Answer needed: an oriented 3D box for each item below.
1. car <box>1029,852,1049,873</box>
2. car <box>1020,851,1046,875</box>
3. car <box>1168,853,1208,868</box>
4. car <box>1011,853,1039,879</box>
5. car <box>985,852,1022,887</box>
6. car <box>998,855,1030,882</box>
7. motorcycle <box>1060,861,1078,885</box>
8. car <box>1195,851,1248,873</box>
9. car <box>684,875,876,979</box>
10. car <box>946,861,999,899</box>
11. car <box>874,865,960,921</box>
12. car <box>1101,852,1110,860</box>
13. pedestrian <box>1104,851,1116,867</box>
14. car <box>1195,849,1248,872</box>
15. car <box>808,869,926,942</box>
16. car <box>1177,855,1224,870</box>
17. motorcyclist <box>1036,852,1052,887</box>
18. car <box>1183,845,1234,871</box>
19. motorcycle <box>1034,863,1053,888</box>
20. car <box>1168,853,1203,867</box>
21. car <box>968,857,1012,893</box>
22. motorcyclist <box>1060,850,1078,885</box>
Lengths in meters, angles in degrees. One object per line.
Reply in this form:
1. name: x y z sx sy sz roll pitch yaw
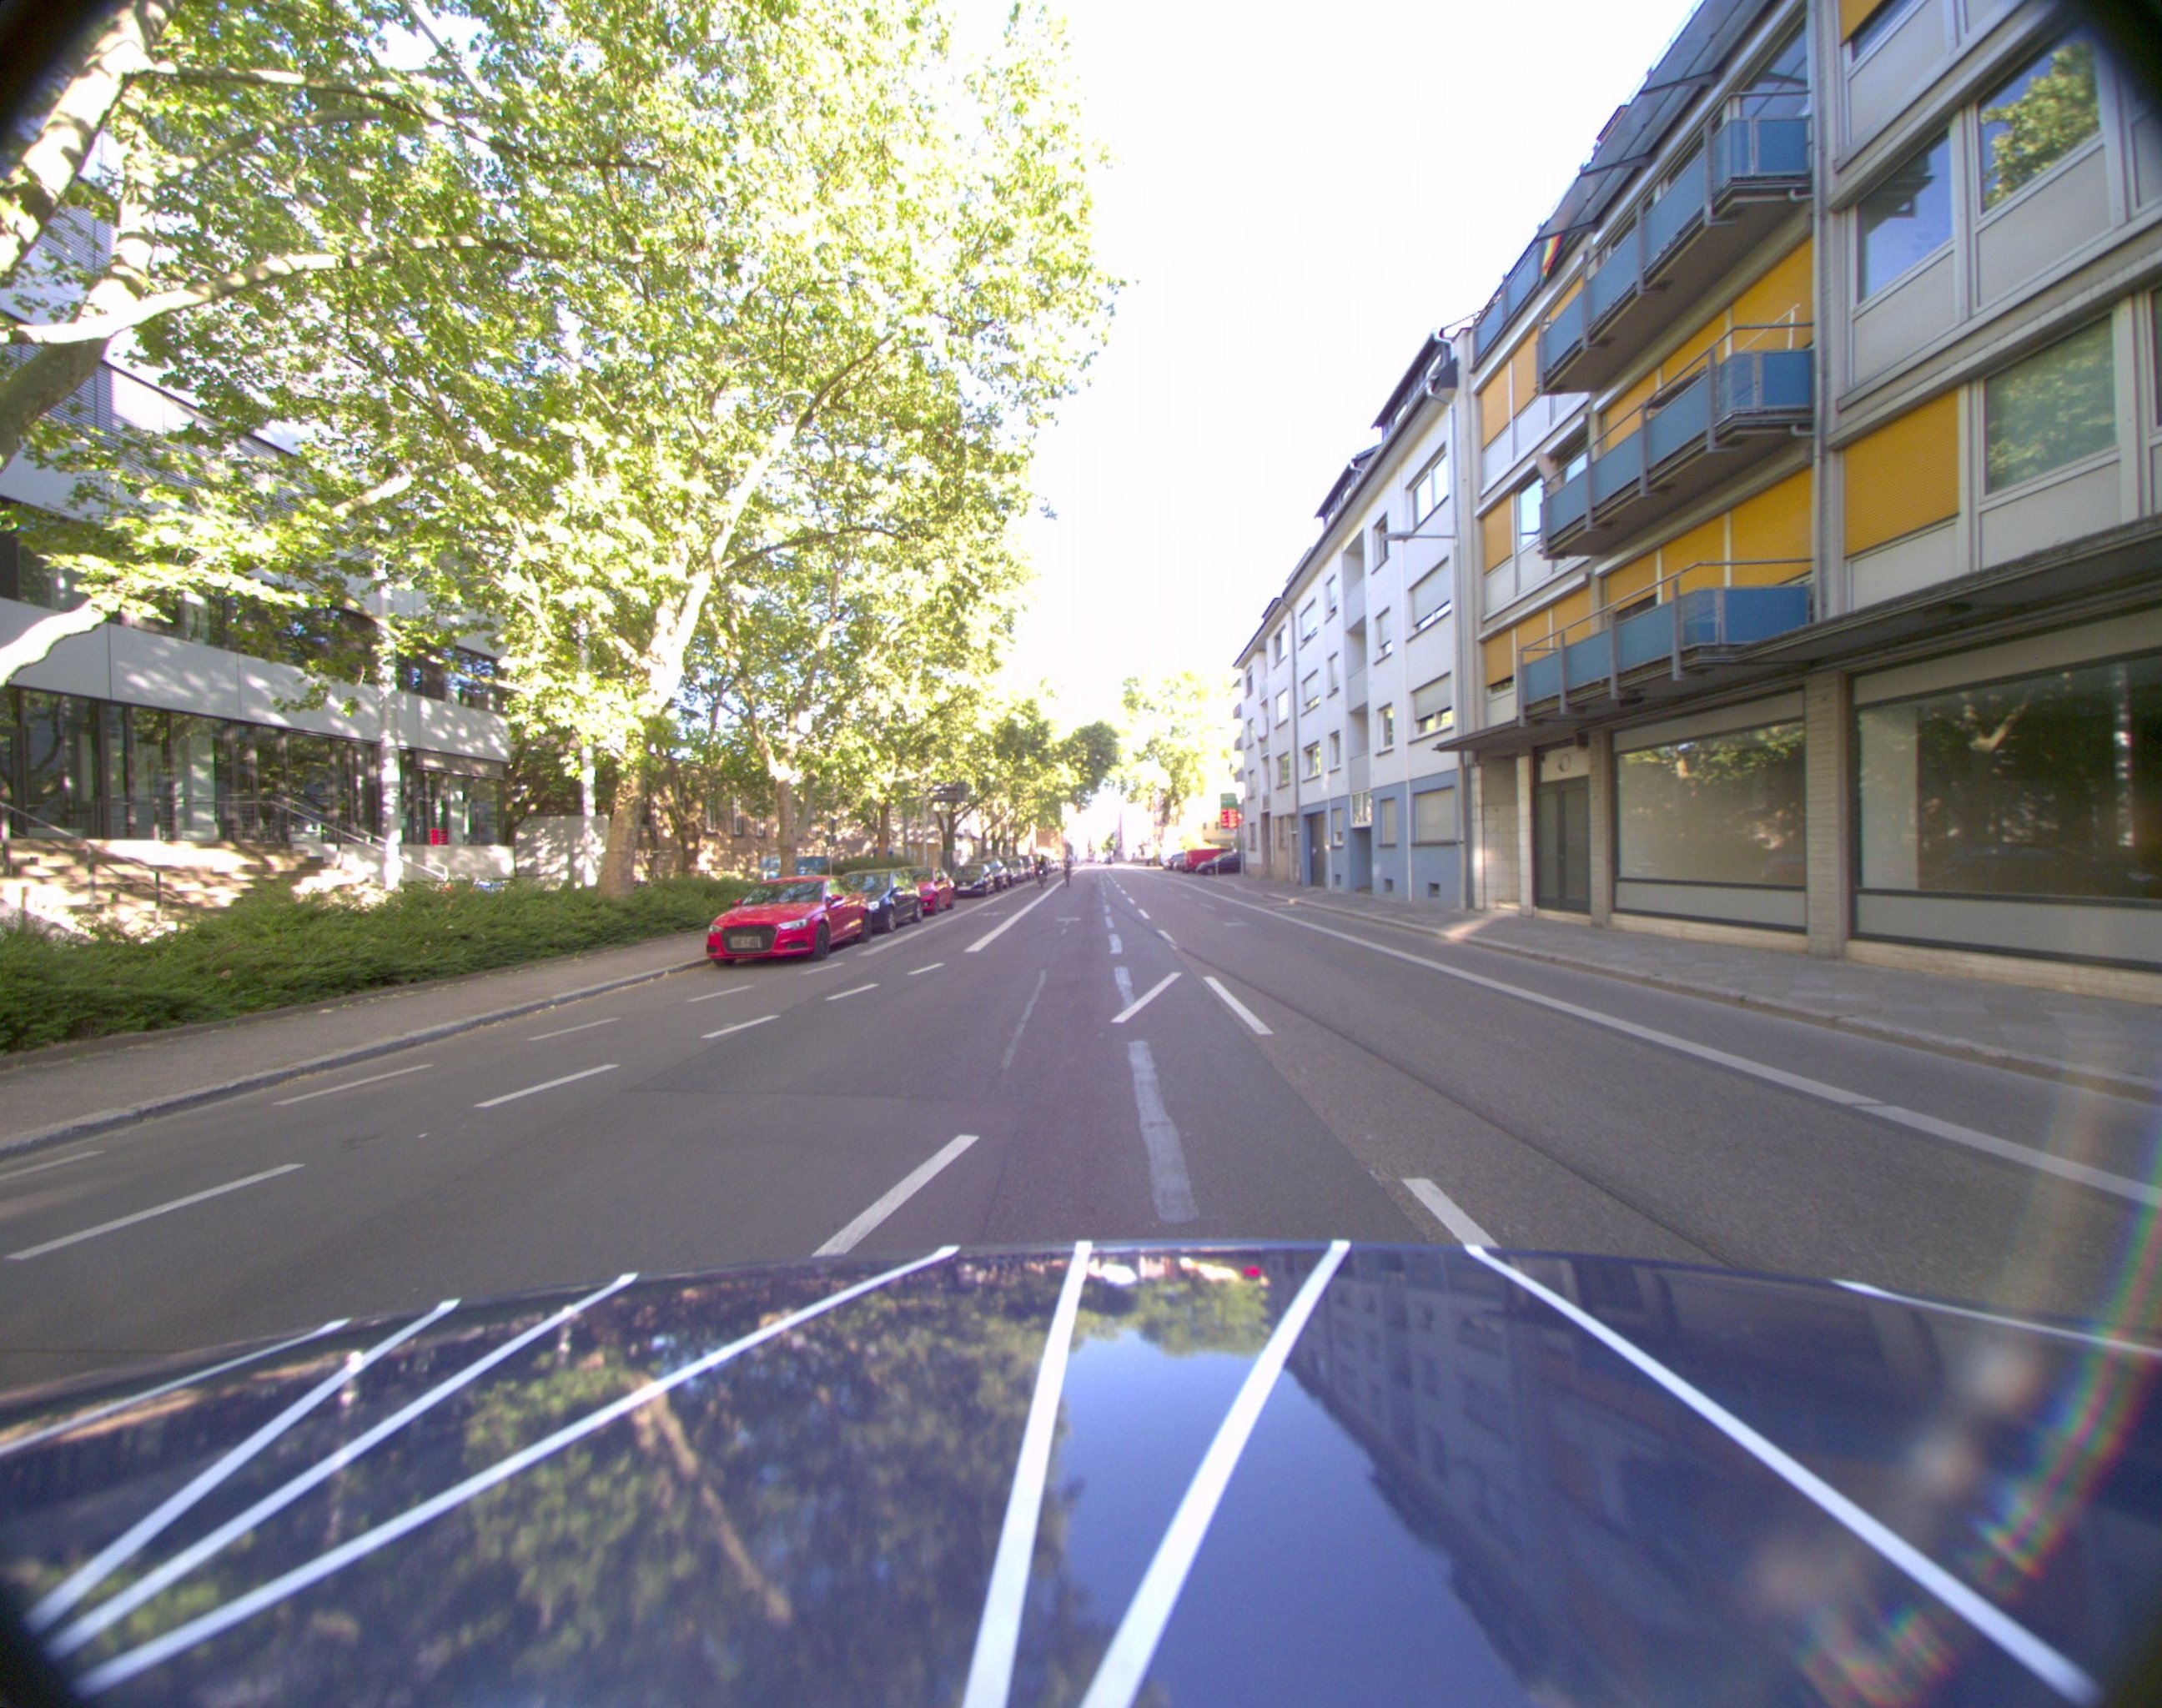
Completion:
1. car: -3.897 0.801 71.007 1.599 1.835 3.769 -2 1 0
2. car: -4.164 0.718 66.096 1.915 1.940 3.769 -2 1 0
3. car: 10.274 0.617 73.033 3.687 1.238 1.345 -2 1 2
4. car: -4.032 0.810 55.244 1.634 1.725 3.769 -2 1 0
5. car: -4.450 0.850 44.244 1.634 1.781 4.576 -2 1 0
6. car: -4.348 0.936 50.116 1.634 1.604 4.576 -2 1 0
7. motorcycle: -0.611 0.981 39.460 0.865 1.161 1.929 -2 1 1
8. car: 10.096 0.581 54.732 3.508 1.380 1.490 -2 1 2
9. car: -5.158 1.177 13.662 1.794 1.384 3.999 -2 1 0
10. car: -4.689 1.108 33.241 1.692 1.414 3.923 -2 1 0
11. car: -5.010 1.130 23.689 1.692 1.441 3.923 -2 1 1
12. car: 5.107 0.375 155.888 1.752 1.423 4.266 -2 0 2
13. pedestrian: 3.050 0.529 80.925 0.894 1.727 0.827 -3 1 -41
14. car: 10.539 0.476 57.101 3.687 1.503 1.490 -2 1 2
15. car: -5.047 1.160 18.415 1.669 1.410 3.697 -2 1 1
16. car: 9.818 0.684 62.591 3.687 1.122 1.345 -2 1 2
17. motorcyclist: -1.890 0.783 38.731 0.719 1.733 0.751 -2 1 1
18. car: 10.066 0.312 59.946 3.688 1.897 1.490 -2 -1 -1
19. motorcycle: -1.877 1.077 38.666 0.799 1.125 2.236 -2 1 1
20. car: 10.329 0.572 75.470 3.271 1.238 1.345 -2 1 2
21. car: -4.514 0.989 38.111 1.634 1.569 4.231 -2 1 0
22. motorcyclist: -0.625 0.681 39.486 0.833 1.778 0.913 -2 1 1
